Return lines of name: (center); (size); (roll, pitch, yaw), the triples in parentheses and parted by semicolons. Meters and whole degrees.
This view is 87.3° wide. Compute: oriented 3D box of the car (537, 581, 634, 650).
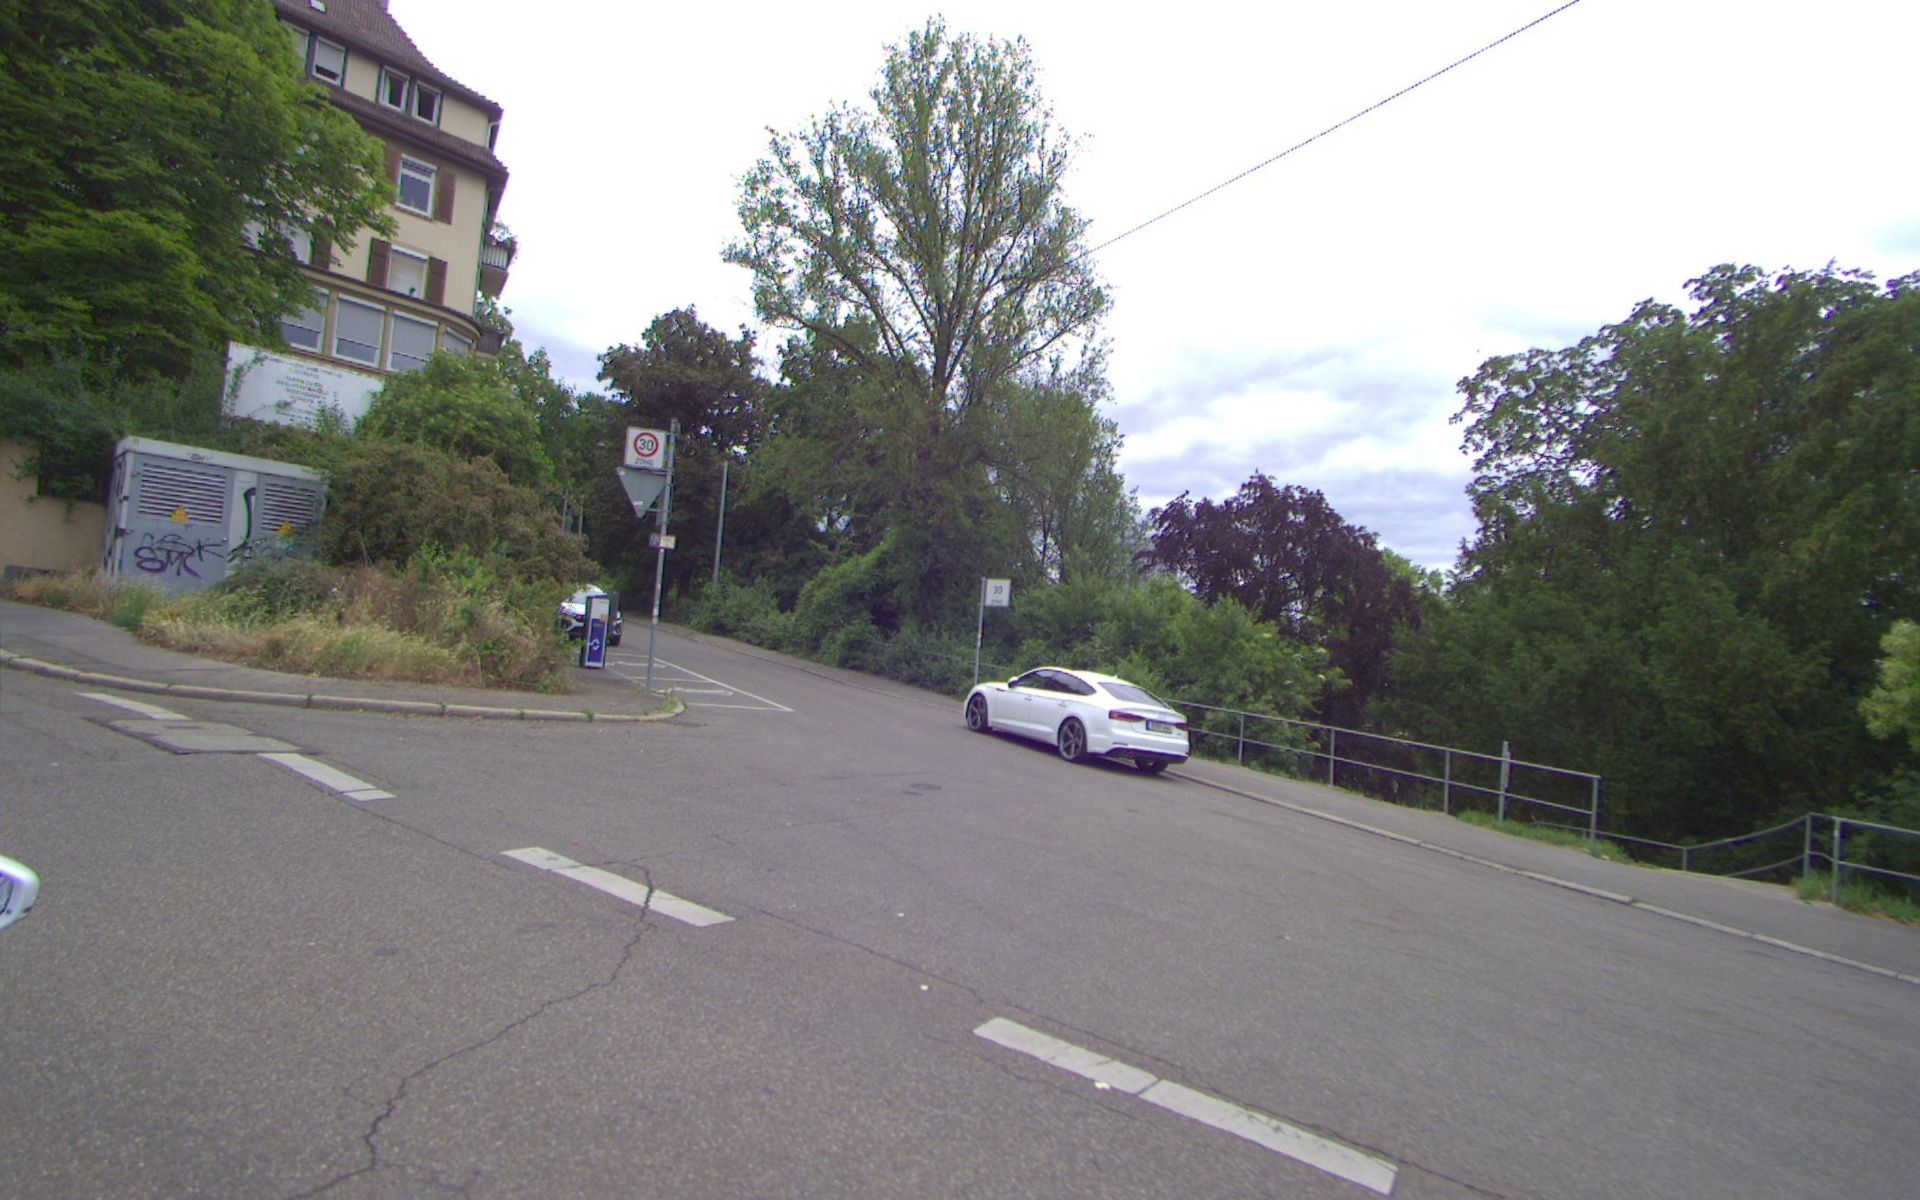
car: (-10.714, 0.388, 28.591); (1.826, 1.552, 4.473); (8, -2, -29)

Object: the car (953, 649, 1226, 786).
car: (1.929, 1.831, 16.553); (1.883, 1.395, 4.563); (11, -3, -31)
